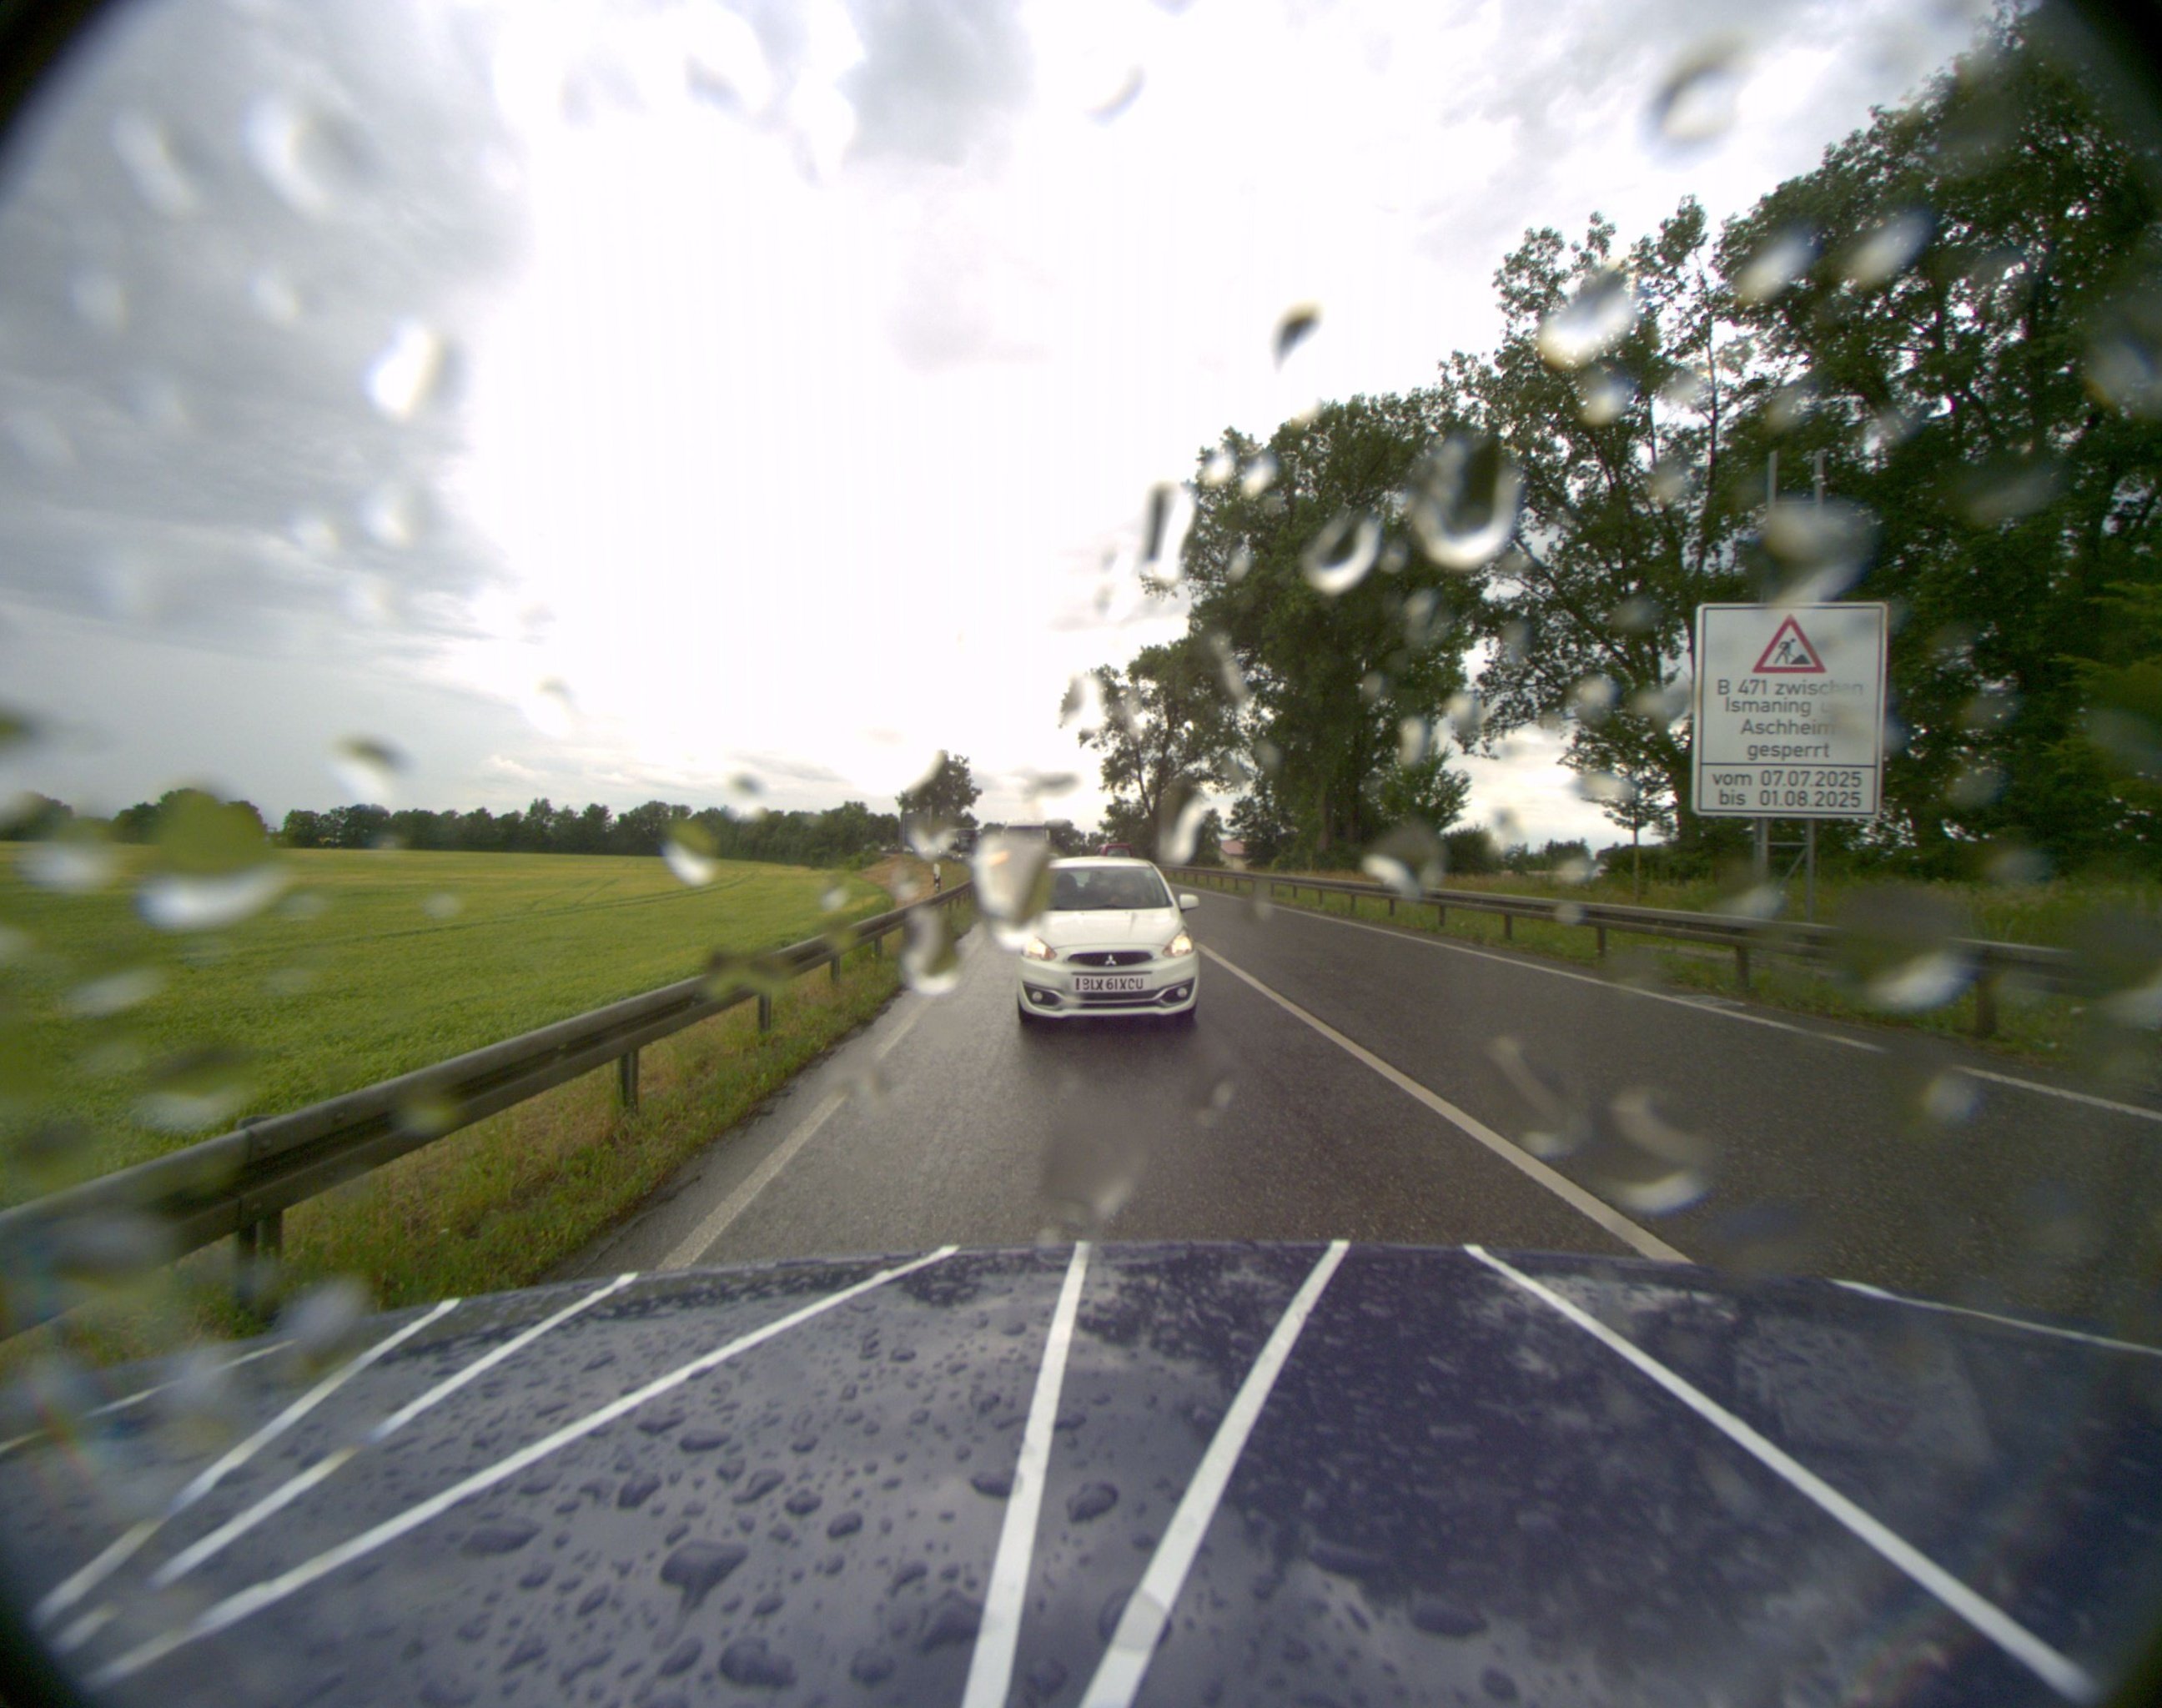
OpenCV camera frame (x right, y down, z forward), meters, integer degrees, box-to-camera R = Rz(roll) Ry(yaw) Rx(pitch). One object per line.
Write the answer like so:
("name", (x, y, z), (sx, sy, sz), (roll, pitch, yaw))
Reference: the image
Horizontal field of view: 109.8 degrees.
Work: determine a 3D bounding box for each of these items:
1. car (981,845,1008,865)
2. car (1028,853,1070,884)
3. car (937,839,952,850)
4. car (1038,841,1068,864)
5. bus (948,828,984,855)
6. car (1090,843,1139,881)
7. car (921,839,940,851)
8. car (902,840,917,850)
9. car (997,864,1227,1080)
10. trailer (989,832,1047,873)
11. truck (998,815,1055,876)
("car", (-8.513, 0.076, 74.553), (2.044, 1.832, 5.329), (-2, 1, -13))
("car", (-1.699, 0.719, 38.853), (1.782, 1.380, 4.325), (-2, 1, -7))
("car", (-21.384, -1.490, 119.070), (1.816, 1.569, 3.994), (-2, 1, -17))
("car", (-2.607, -0.174, 69.104), (1.969, 2.002, 4.855), (-2, 1, -11))
("bus", (-15.531, -1.702, 101.270), (2.967, 3.294, 14.814), (-2, 2, -15))
("car", (1.631, 0.349, 38.750), (1.807, 1.840, 4.517), (-1, 1, -6))
("car", (-26.602, -1.616, 134.068), (2.002, 2.002, 5.324), (-3, 1, -25))
("car", (-34.933, -1.775, 154.679), (2.002, 2.002, 4.223), (-3, 1, -25))
("car", (0.175, 0.893, 7.623), (1.653, 1.461, 4.029), (-2, 0, -2))
("trailer", (-5.025, -0.205, 57.517), (2.986, 2.618, 15.666), (-2, 1, -10))
("truck", (-3.615, -0.584, 49.031), (2.986, 3.589, 6.074), (-2, 1, -10))
